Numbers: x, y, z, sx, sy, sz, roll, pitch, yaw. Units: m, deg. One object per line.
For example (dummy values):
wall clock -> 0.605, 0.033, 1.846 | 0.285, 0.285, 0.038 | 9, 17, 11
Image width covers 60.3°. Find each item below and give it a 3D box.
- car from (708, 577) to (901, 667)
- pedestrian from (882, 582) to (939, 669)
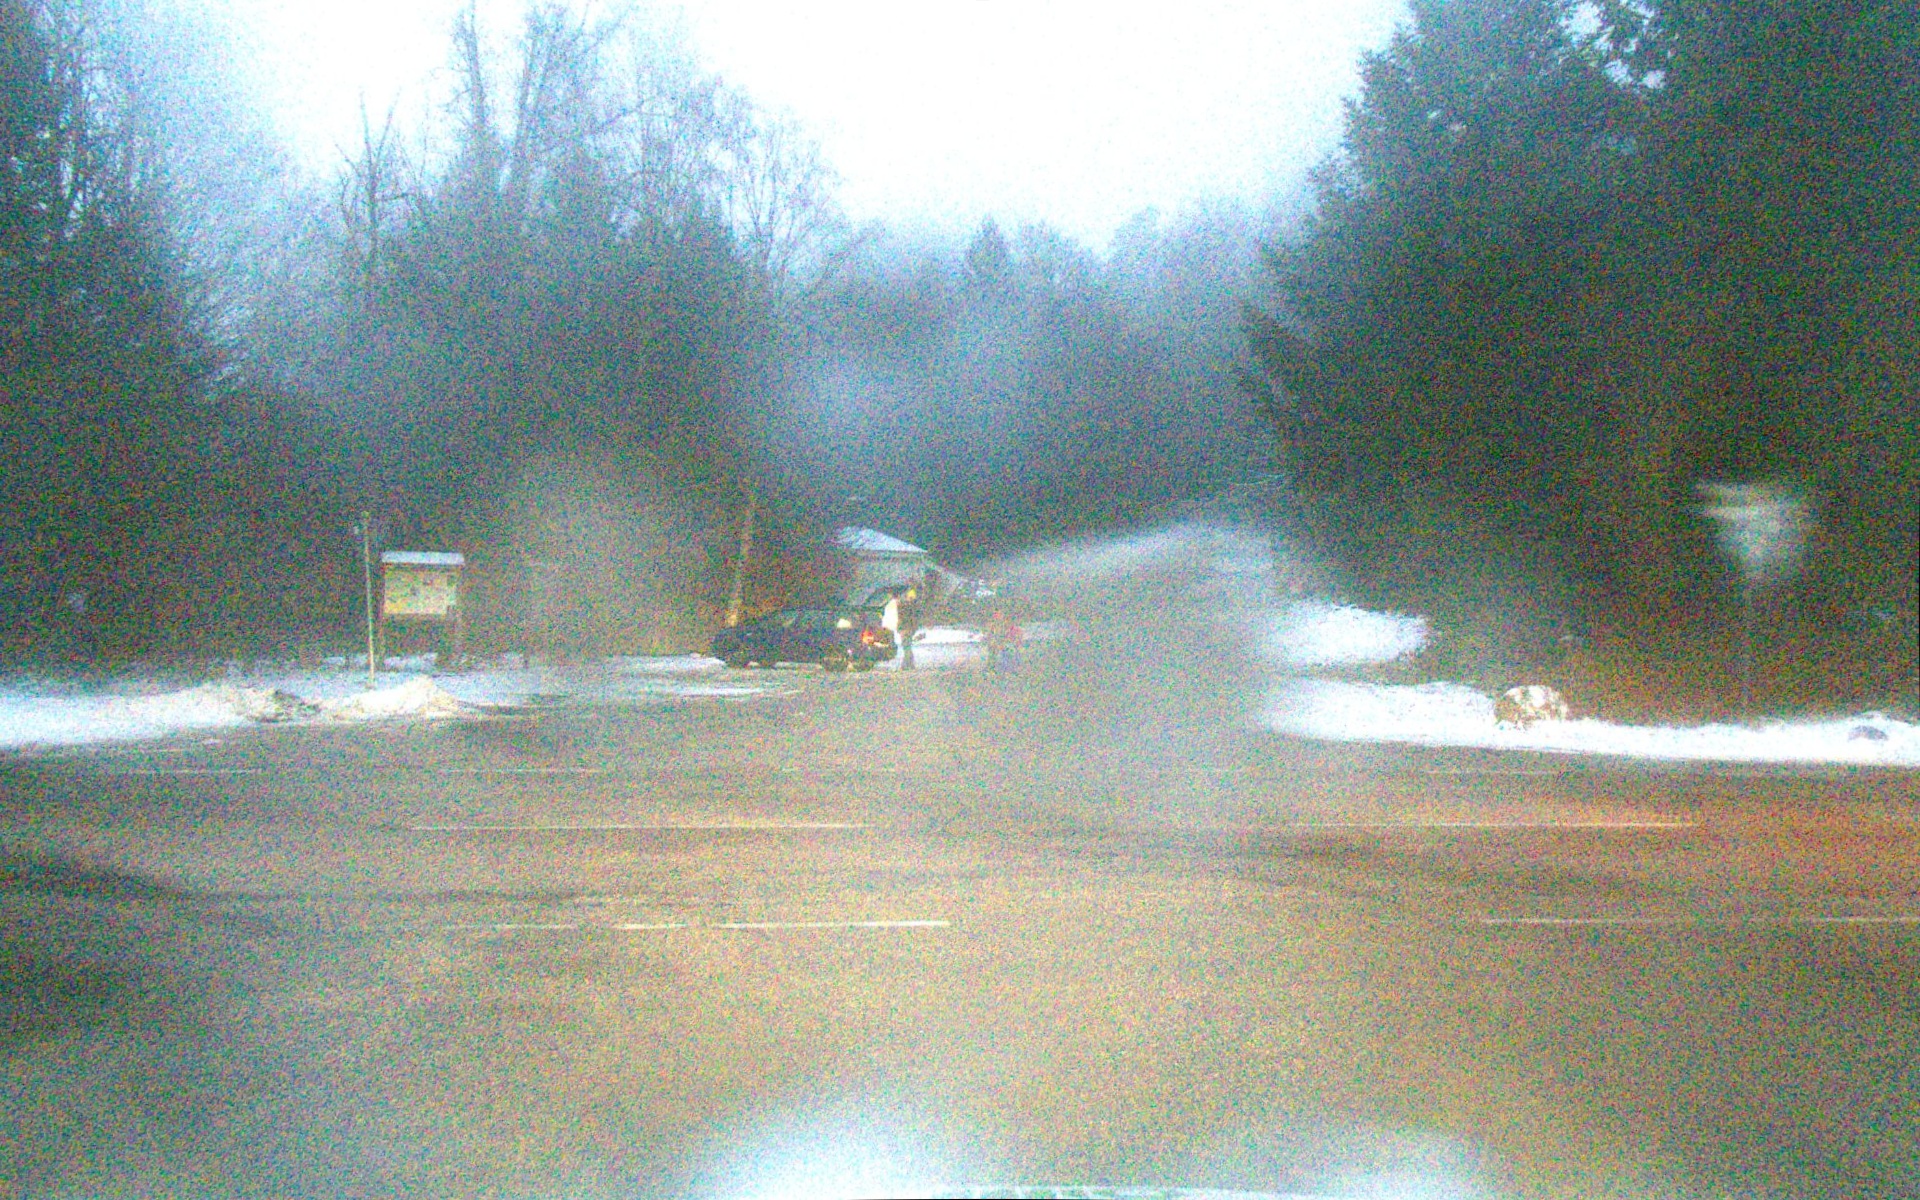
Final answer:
car -> -3.508, 0.505, 37.609 | 3.863, 1.914, 2.001 | 1, -1, 16
pedestrian -> -1.081, 0.565, 36.454 | 0.941, 1.860, 0.925 | 1, -2, 20
